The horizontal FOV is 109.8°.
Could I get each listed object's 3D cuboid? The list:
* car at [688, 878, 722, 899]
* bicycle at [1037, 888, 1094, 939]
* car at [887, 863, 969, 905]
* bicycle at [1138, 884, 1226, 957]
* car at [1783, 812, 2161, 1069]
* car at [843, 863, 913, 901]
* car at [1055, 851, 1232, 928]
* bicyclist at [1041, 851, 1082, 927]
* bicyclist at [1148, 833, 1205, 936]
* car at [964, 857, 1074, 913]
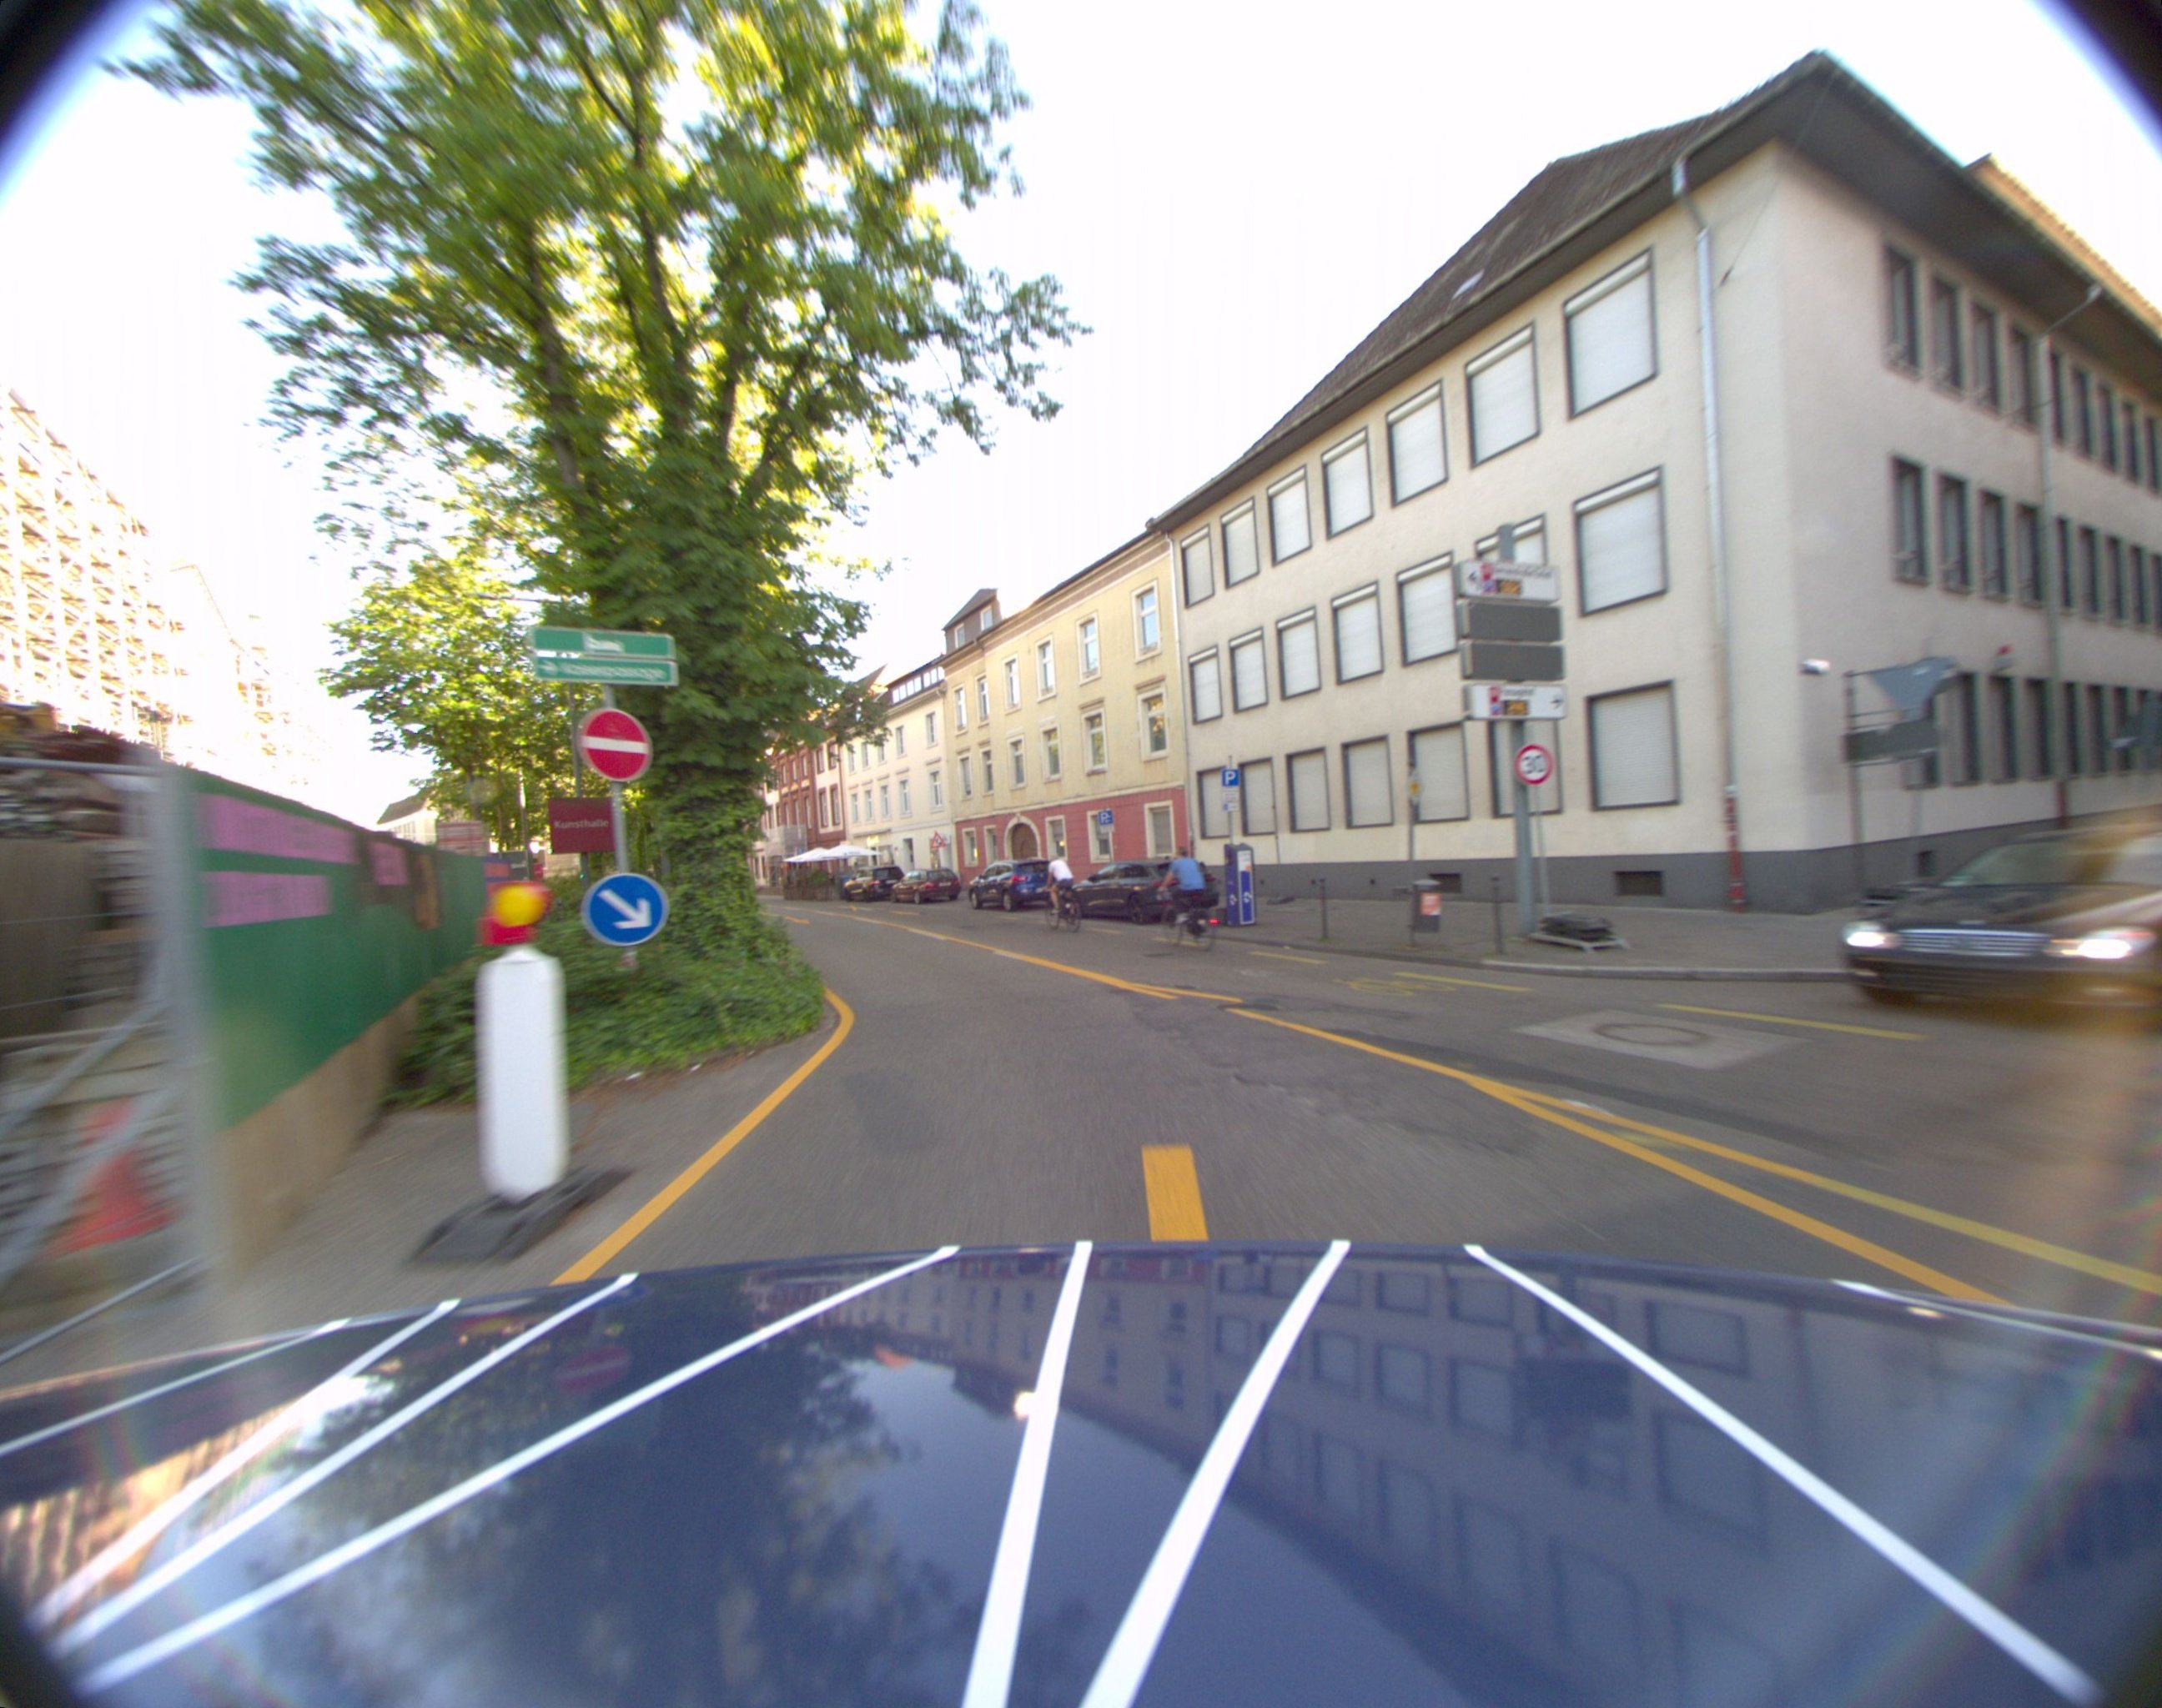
[{"bbox_3d":[-28.722,2.602,58.012,1.823,1.455,3.991,-2,-1,-33],"label":"car"},{"bbox_3d":[-0.382,1.288,16.954,0.589,0.982,2.027,-3,0,-20],"label":"bicycle"},{"bbox_3d":[-6.594,1.272,32.478,1.774,1.479,4.184,-7,2,-35],"label":"car"},{"bbox_3d":[1.664,1.073,12.839,0.612,1.064,1.894,-3,0,-20],"label":"bicycle"},{"bbox_3d":[8.240,0.437,6.052,4.778,1.315,1.764,-5,1,-18],"label":"car"},{"bbox_3d":[-9.910,1.351,36.880,1.822,1.562,4.379,-5,1,-35],"label":"car"},{"bbox_3d":[1.388,0.839,19.059,1.884,1.499,4.777,-7,2,-30],"label":"car"},{"bbox_3d":[-0.440,0.765,17.074,0.576,1.649,1.008,-2,1,-20],"label":"bicyclist"},{"bbox_3d":[1.605,0.492,12.867,0.583,1.665,0.835,-2,1,-21],"label":"bicyclist"},{"bbox_3d":[-2.151,0.987,25.086,1.809,1.562,4.145,-5,1,-32],"label":"car"}]
